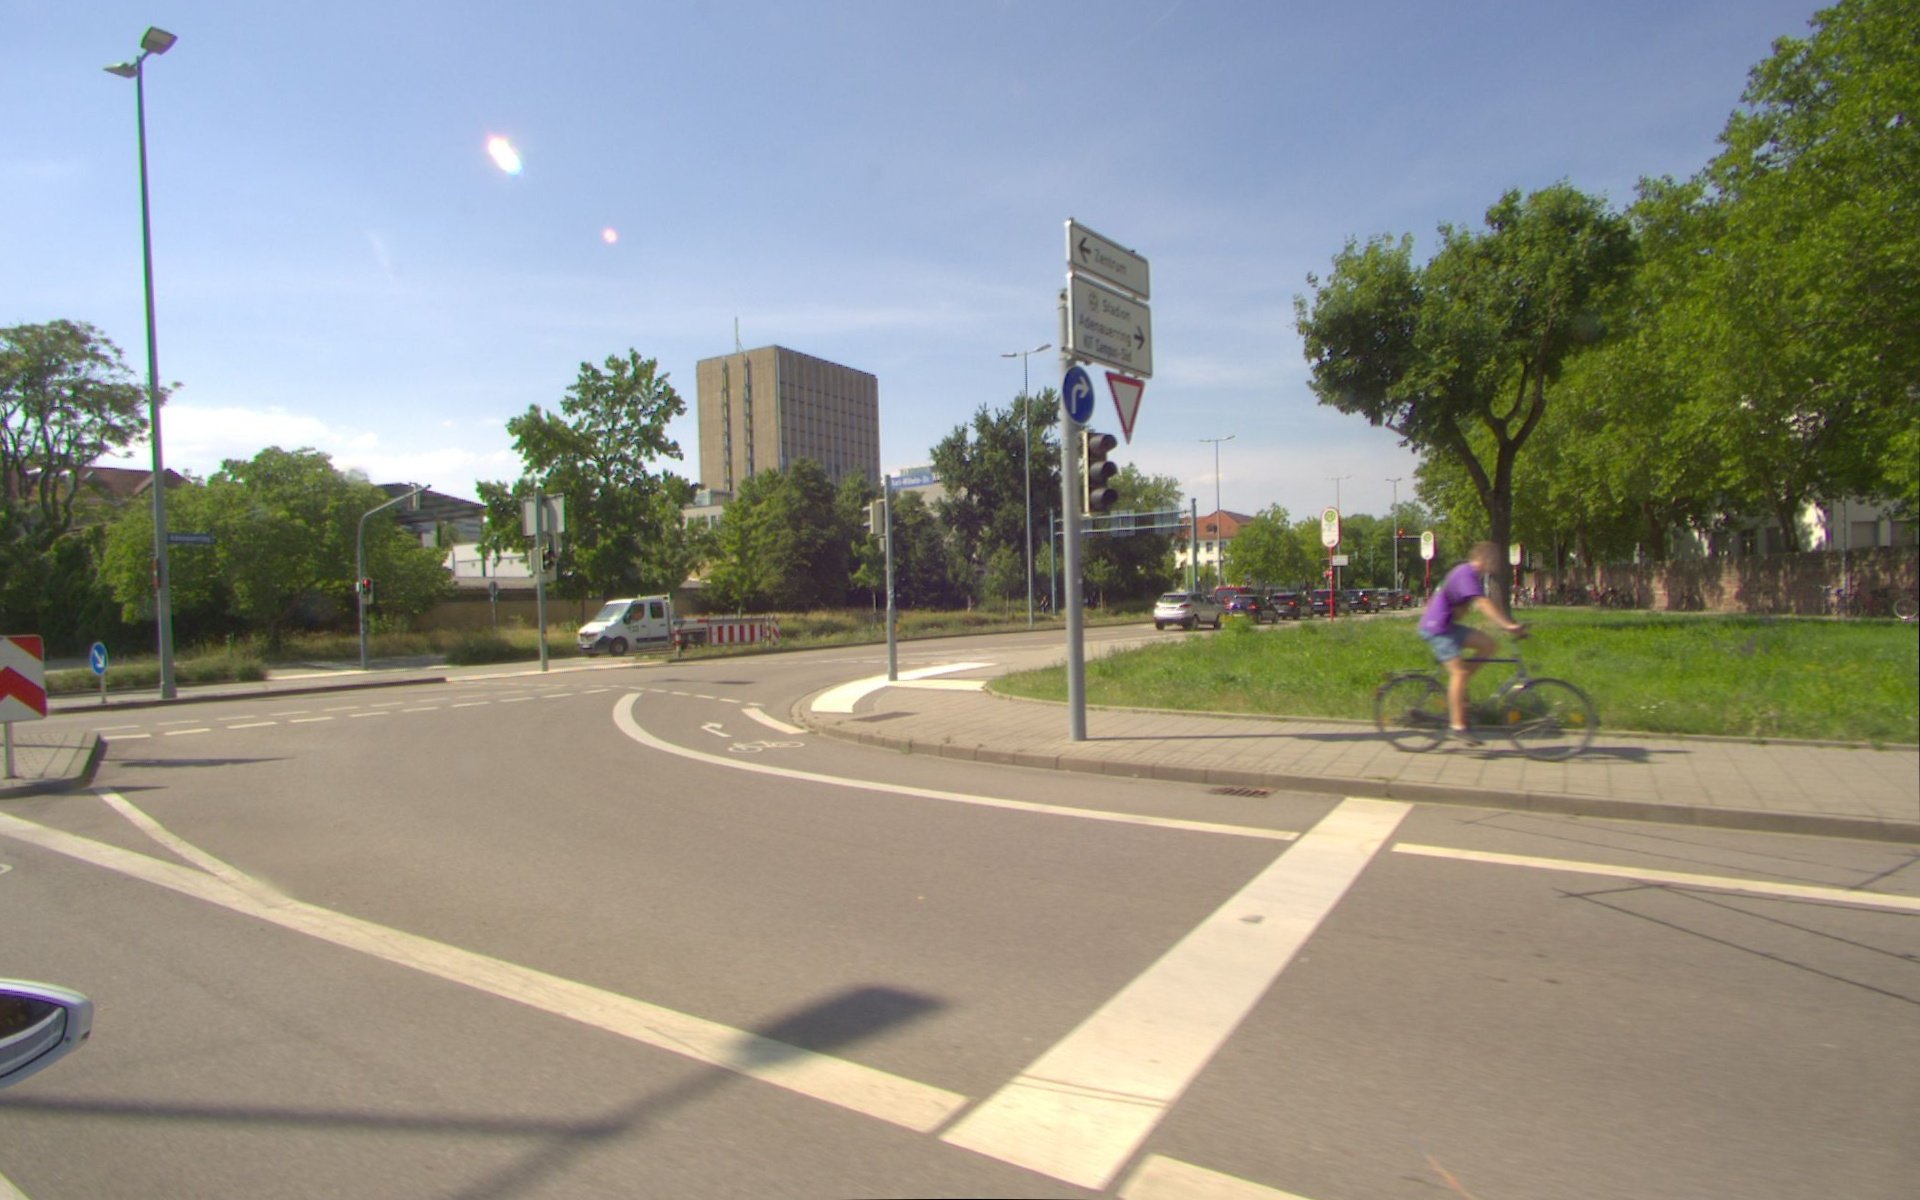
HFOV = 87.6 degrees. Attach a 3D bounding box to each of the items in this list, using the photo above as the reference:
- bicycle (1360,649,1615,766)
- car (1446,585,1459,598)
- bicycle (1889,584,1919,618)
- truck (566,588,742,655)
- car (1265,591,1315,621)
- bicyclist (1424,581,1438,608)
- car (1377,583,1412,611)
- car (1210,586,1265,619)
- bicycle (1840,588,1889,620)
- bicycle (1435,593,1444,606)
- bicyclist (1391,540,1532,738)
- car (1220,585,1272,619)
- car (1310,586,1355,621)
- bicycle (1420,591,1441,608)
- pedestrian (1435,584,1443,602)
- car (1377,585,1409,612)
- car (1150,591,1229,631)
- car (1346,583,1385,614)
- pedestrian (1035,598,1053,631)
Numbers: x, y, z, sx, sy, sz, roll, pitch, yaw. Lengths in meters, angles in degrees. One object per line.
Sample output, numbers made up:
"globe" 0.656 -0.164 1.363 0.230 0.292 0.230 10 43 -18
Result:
"bicycle" 4.595 0.900 8.810 1.904 0.899 0.682 -1 1 31
"car" 84.596 -1.500 171.972 1.968 2.039 3.987 -1 -2 26
"bicycle" 29.870 0.031 31.303 0.439 1.047 1.447 -1 1 6
"truck" -12.399 0.798 41.216 2.380 2.386 7.007 -3 0 33
"car" 18.871 0.340 57.154 1.564 1.612 3.972 -1 1 37
"bicyclist" 37.683 -0.426 80.141 0.769 2.039 1.265 -1 -1 38
"car" 33.325 -0.281 76.723 1.970 2.041 3.980 -1 1 30
"car" 16.485 0.148 59.349 1.950 1.821 4.587 -1 1 31
"bicycle" 30.104 0.116 33.361 0.439 1.047 1.447 -1 1 6
"bicycle" 40.130 -0.040 83.794 0.552 1.066 1.318 -1 1 30
"bicyclist" 4.423 0.334 8.845 1.068 1.659 0.486 -1 1 29
"car" 14.581 0.088 50.940 1.561 1.612 3.978 -1 1 31
"car" 23.371 0.186 62.744 1.970 2.041 3.980 -1 1 30
"bicycle" 37.614 -0.029 80.013 0.838 1.233 3.462 -1 -2 37
"pedestrian" 40.087 -0.570 83.736 0.552 1.458 0.729 -1 1 30
"car" 35.646 -0.075 82.378 1.970 2.039 3.984 -1 -2 29
"car" 10.262 0.475 44.550 1.691 1.640 4.183 -1 1 40
"car" 28.342 -0.101 69.853 1.970 2.041 3.980 -1 1 30
"pedestrian" 6.725 1.181 80.133 0.941 2.566 1.118 -1 -1 33
